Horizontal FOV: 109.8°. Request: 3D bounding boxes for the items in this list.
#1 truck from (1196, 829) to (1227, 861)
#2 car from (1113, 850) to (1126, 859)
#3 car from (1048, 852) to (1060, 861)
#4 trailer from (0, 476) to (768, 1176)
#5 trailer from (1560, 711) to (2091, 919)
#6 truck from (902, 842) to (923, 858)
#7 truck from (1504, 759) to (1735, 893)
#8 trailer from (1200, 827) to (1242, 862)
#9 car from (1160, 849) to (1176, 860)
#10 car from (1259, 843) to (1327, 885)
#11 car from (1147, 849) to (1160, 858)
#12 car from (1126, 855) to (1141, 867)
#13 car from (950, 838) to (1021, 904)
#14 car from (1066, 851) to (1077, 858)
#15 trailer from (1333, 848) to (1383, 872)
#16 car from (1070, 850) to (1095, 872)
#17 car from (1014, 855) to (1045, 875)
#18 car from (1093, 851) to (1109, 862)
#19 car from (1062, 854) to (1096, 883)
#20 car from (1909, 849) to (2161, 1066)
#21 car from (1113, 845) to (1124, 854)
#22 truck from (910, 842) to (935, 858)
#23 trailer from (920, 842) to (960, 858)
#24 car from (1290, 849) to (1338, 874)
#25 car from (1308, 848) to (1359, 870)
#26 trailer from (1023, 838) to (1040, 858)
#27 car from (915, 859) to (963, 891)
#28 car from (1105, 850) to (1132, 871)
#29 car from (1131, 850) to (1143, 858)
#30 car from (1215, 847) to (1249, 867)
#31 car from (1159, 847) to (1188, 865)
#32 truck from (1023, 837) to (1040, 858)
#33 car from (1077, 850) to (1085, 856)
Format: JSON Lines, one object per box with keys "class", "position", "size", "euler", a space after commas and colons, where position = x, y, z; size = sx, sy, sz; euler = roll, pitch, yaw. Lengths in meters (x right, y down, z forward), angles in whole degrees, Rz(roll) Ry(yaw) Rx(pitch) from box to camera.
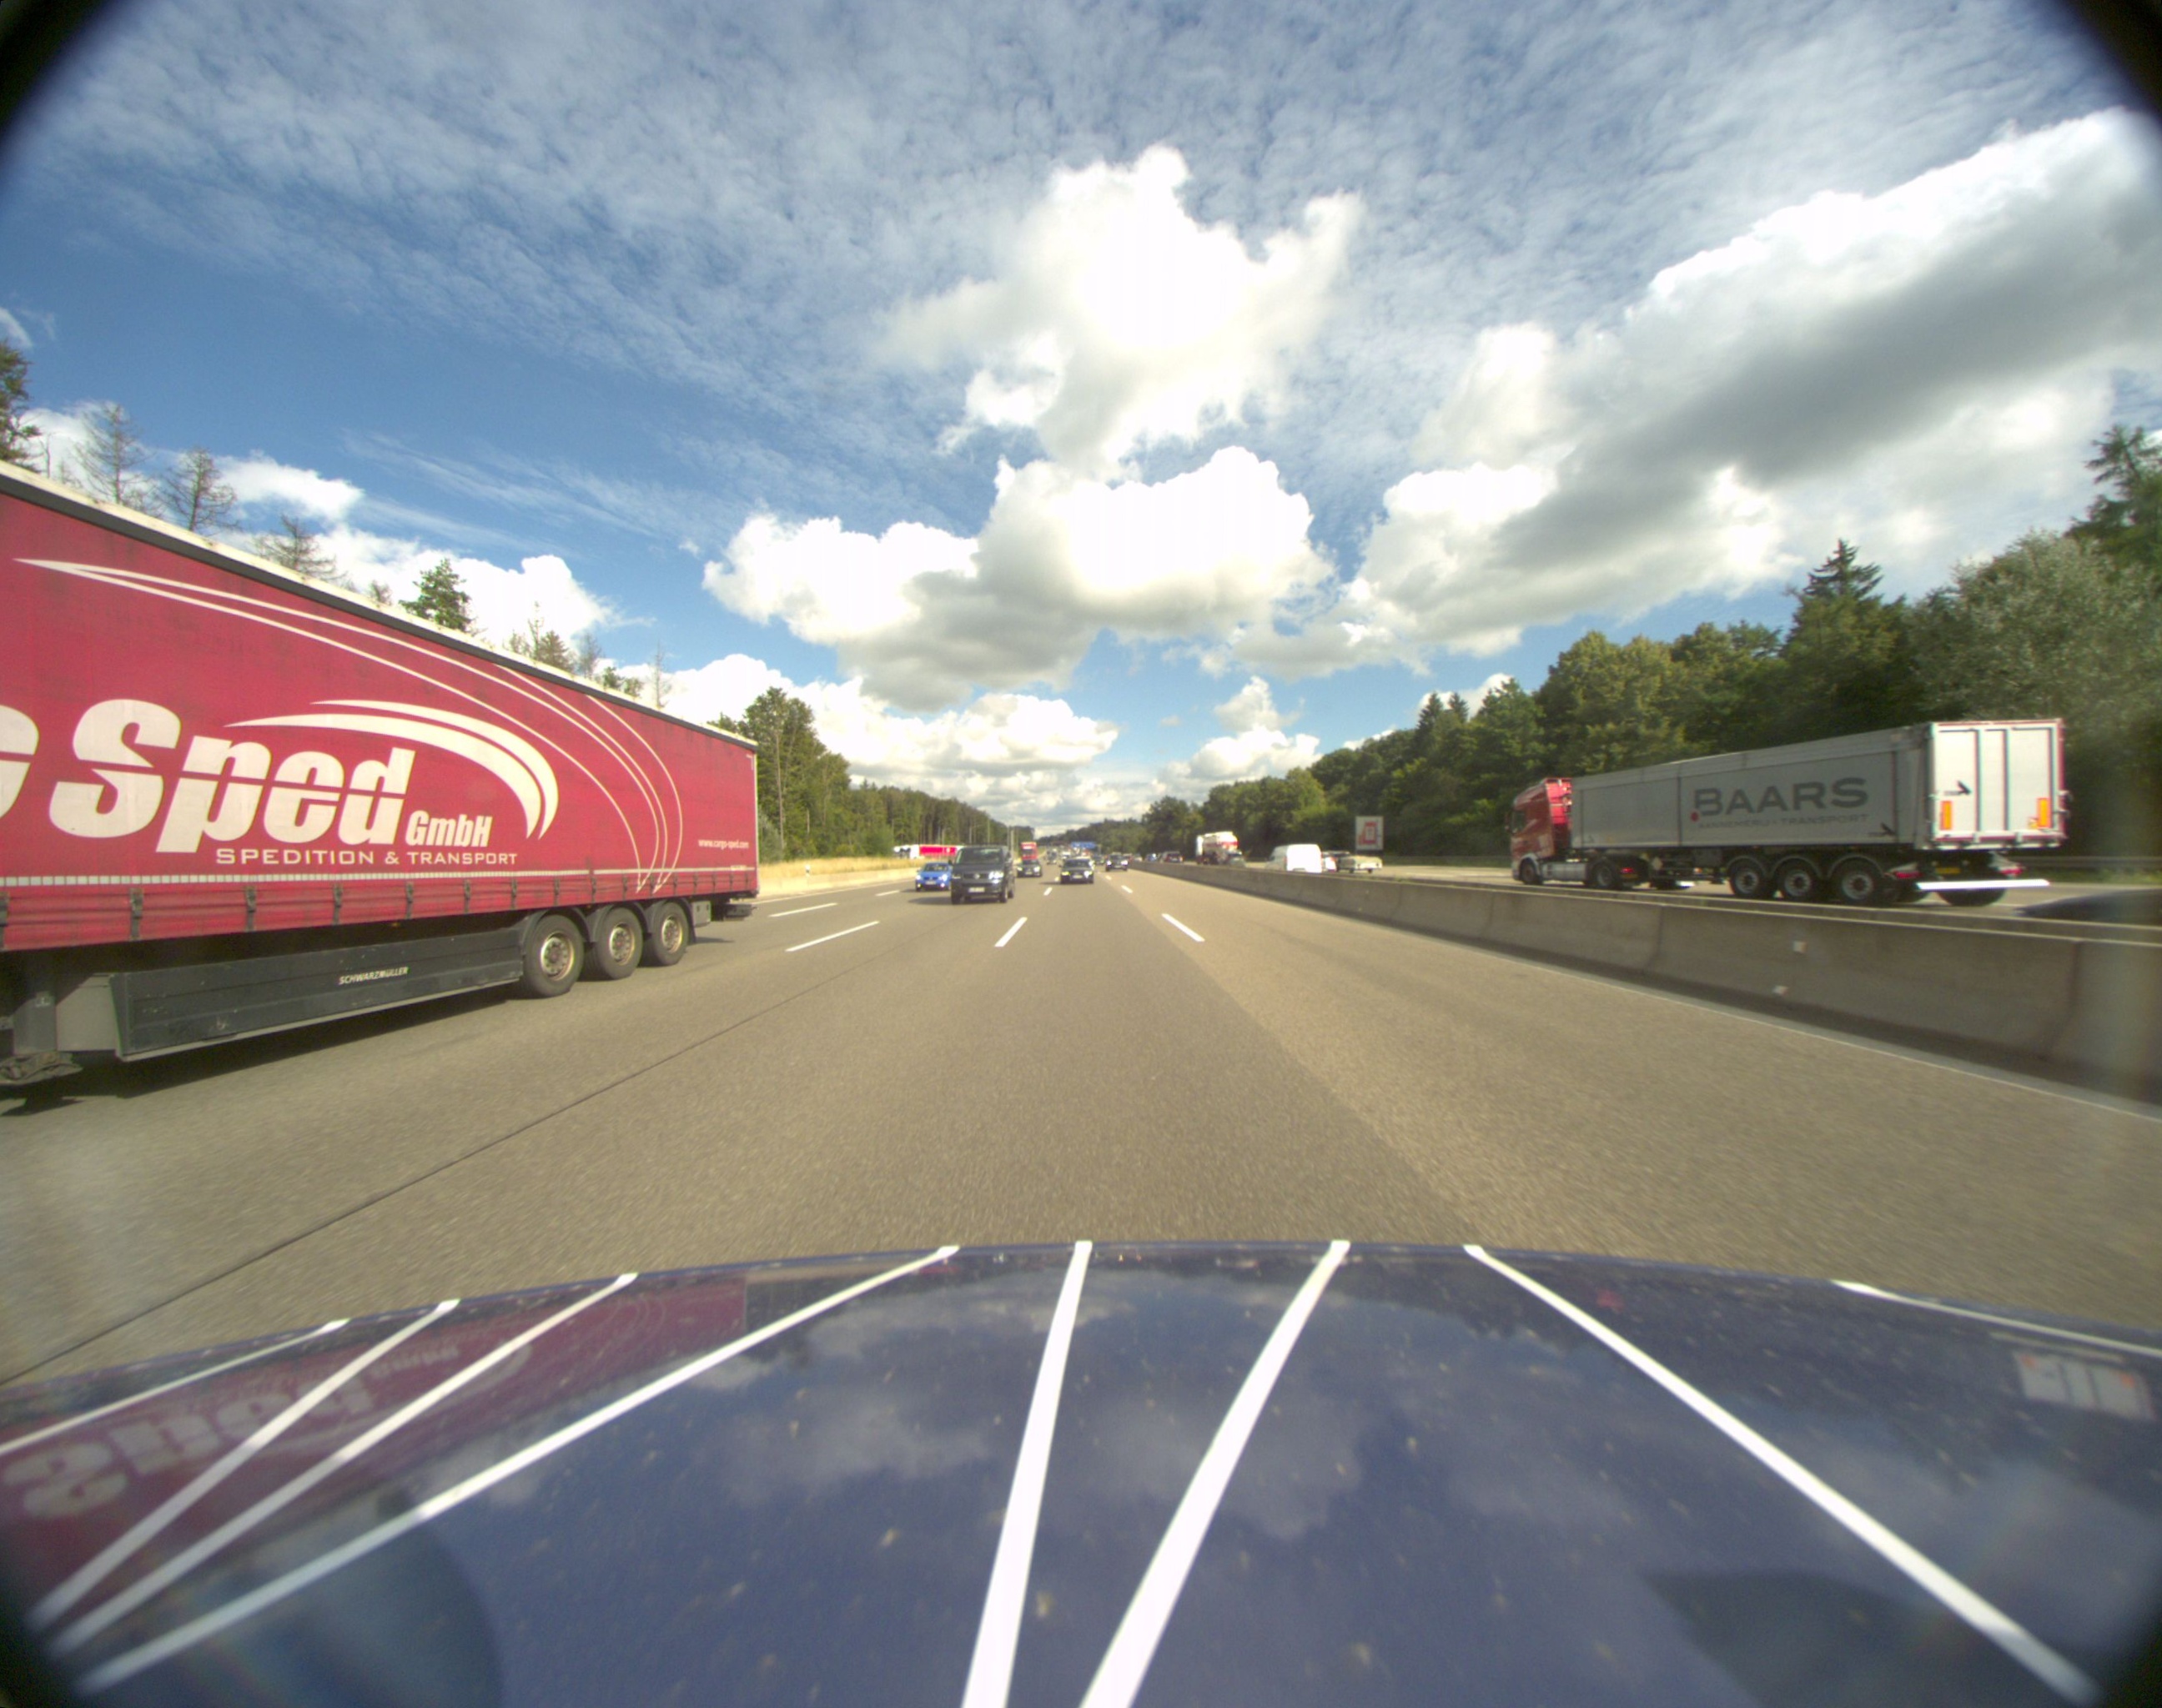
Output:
{"class": "truck", "position": [17.027, -1.160, 99.550], "size": [2.795, 3.922, 6.444], "euler": [-2, 0, 0]}
{"class": "car", "position": [7.929, 0.058, 156.775], "size": [2.177, 1.790, 4.875], "euler": [-2, 0, -1]}
{"class": "car", "position": [-5.026, 0.433, 143.869], "size": [2.153, 1.540, 4.676], "euler": [-1, 0, -1]}
{"class": "trailer", "position": [-7.593, -0.150, 8.021], "size": [2.781, 4.021, 13.712], "euler": [-2, 0, 0]}
{"class": "trailer", "position": [17.597, -0.748, 19.957], "size": [2.974, 3.835, 11.280], "euler": [-2, 0, 1]}
{"class": "truck", "position": [-47.418, -1.075, 213.972], "size": [2.888, 4.482, 5.133], "euler": [0, 1, 44]}
{"class": "truck", "position": [17.632, -0.818, 25.594], "size": [2.974, 3.835, 6.764], "euler": [-2, 0, 1]}
{"class": "trailer", "position": [17.056, -1.086, 93.478], "size": [2.795, 3.922, 12.251], "euler": [-2, 0, 0]}
{"class": "car", "position": [13.543, 0.036, 118.330], "size": [1.865, 1.610, 4.747], "euler": [-2, 0, -1]}
{"class": "car", "position": [9.993, 0.433, 36.124], "size": [1.854, 1.867, 4.615], "euler": [0, 0, -1]}
{"class": "car", "position": [12.468, -0.071, 131.420], "size": [1.633, 1.503, 3.998], "euler": [-1, 1, -3]}
{"class": "car", "position": [9.044, 1.182, 130.833], "size": [2.177, 1.867, 4.980], "euler": [0, 0, -1]}
{"class": "car", "position": [-3.366, 0.556, 27.593], "size": [1.854, 2.097, 4.932], "euler": [-2, 0, 0]}
{"class": "car", "position": [-1.981, 0.104, 160.582], "size": [2.153, 1.540, 4.676], "euler": [-1, 0, -1]}
{"class": "trailer", "position": [17.493, 0.357, 48.137], "size": [1.538, 1.394, 4.179], "euler": [-2, 0, -1]}
{"class": "car", "position": [0.152, 0.583, 69.000], "size": [2.153, 1.800, 5.098], "euler": [-2, 1, 0]}
{"class": "car", "position": [-3.906, 0.834, 58.875], "size": [2.153, 1.426, 5.098], "euler": [-2, 0, -1]}
{"class": "car", "position": [3.040, 0.396, 114.459], "size": [2.153, 1.540, 4.676], "euler": [-2, 0, -1]}
{"class": "car", "position": [-0.140, 0.760, 42.782], "size": [1.733, 1.500, 4.727], "euler": [-2, 0, -1]}
{"class": "car", "position": [10.408, 0.884, 5.841], "size": [2.177, 1.867, 5.361], "euler": [0, 0, -1]}
{"class": "car", "position": [8.285, -1.071, 169.015], "size": [2.165, 2.002, 5.821], "euler": [0, 0, -1]}
{"class": "truck", "position": [-44.219, -1.117, 211.755], "size": [2.873, 4.481, 6.109], "euler": [-1, 1, 45]}
{"class": "trailer", "position": [-39.978, -1.172, 216.009], "size": [11.406, 4.348, 2.837], "euler": [-2, 1, -45]}
{"class": "car", "position": [13.733, 0.426, 45.022], "size": [1.607, 1.395, 4.000], "euler": [-2, 0, 1]}
{"class": "car", "position": [17.409, 0.317, 52.543], "size": [1.832, 1.406, 4.674], "euler": [-2, 0, -2]}
{"class": "trailer", "position": [-9.320, -1.132, 144.830], "size": [3.018, 3.662, 13.571], "euler": [-1, 0, -3]}
{"class": "car", "position": [-6.999, 1.010, 37.833], "size": [1.654, 1.433, 3.999], "euler": [-2, 0, -1]}
{"class": "car", "position": [3.438, 0.589, 71.236], "size": [2.153, 1.800, 5.098], "euler": [-2, 1, -1]}
{"class": "car", "position": [11.391, 0.042, 155.656], "size": [1.999, 1.476, 5.130], "euler": [-2, 0, -1]}
{"class": "car", "position": [13.463, 0.248, 67.884], "size": [1.999, 1.654, 4.686], "euler": [-2, 0, -1]}
{"class": "car", "position": [9.369, 0.169, 77.333], "size": [2.160, 1.690, 5.349], "euler": [-2, 0, -1]}
{"class": "truck", "position": [-8.985, -1.089, 138.269], "size": [3.018, 3.662, 7.559], "euler": [-1, 0, -3]}
{"class": "car", "position": [-0.017, -0.196, 214.836], "size": [2.153, 1.540, 4.676], "euler": [-1, 0, -1]}
